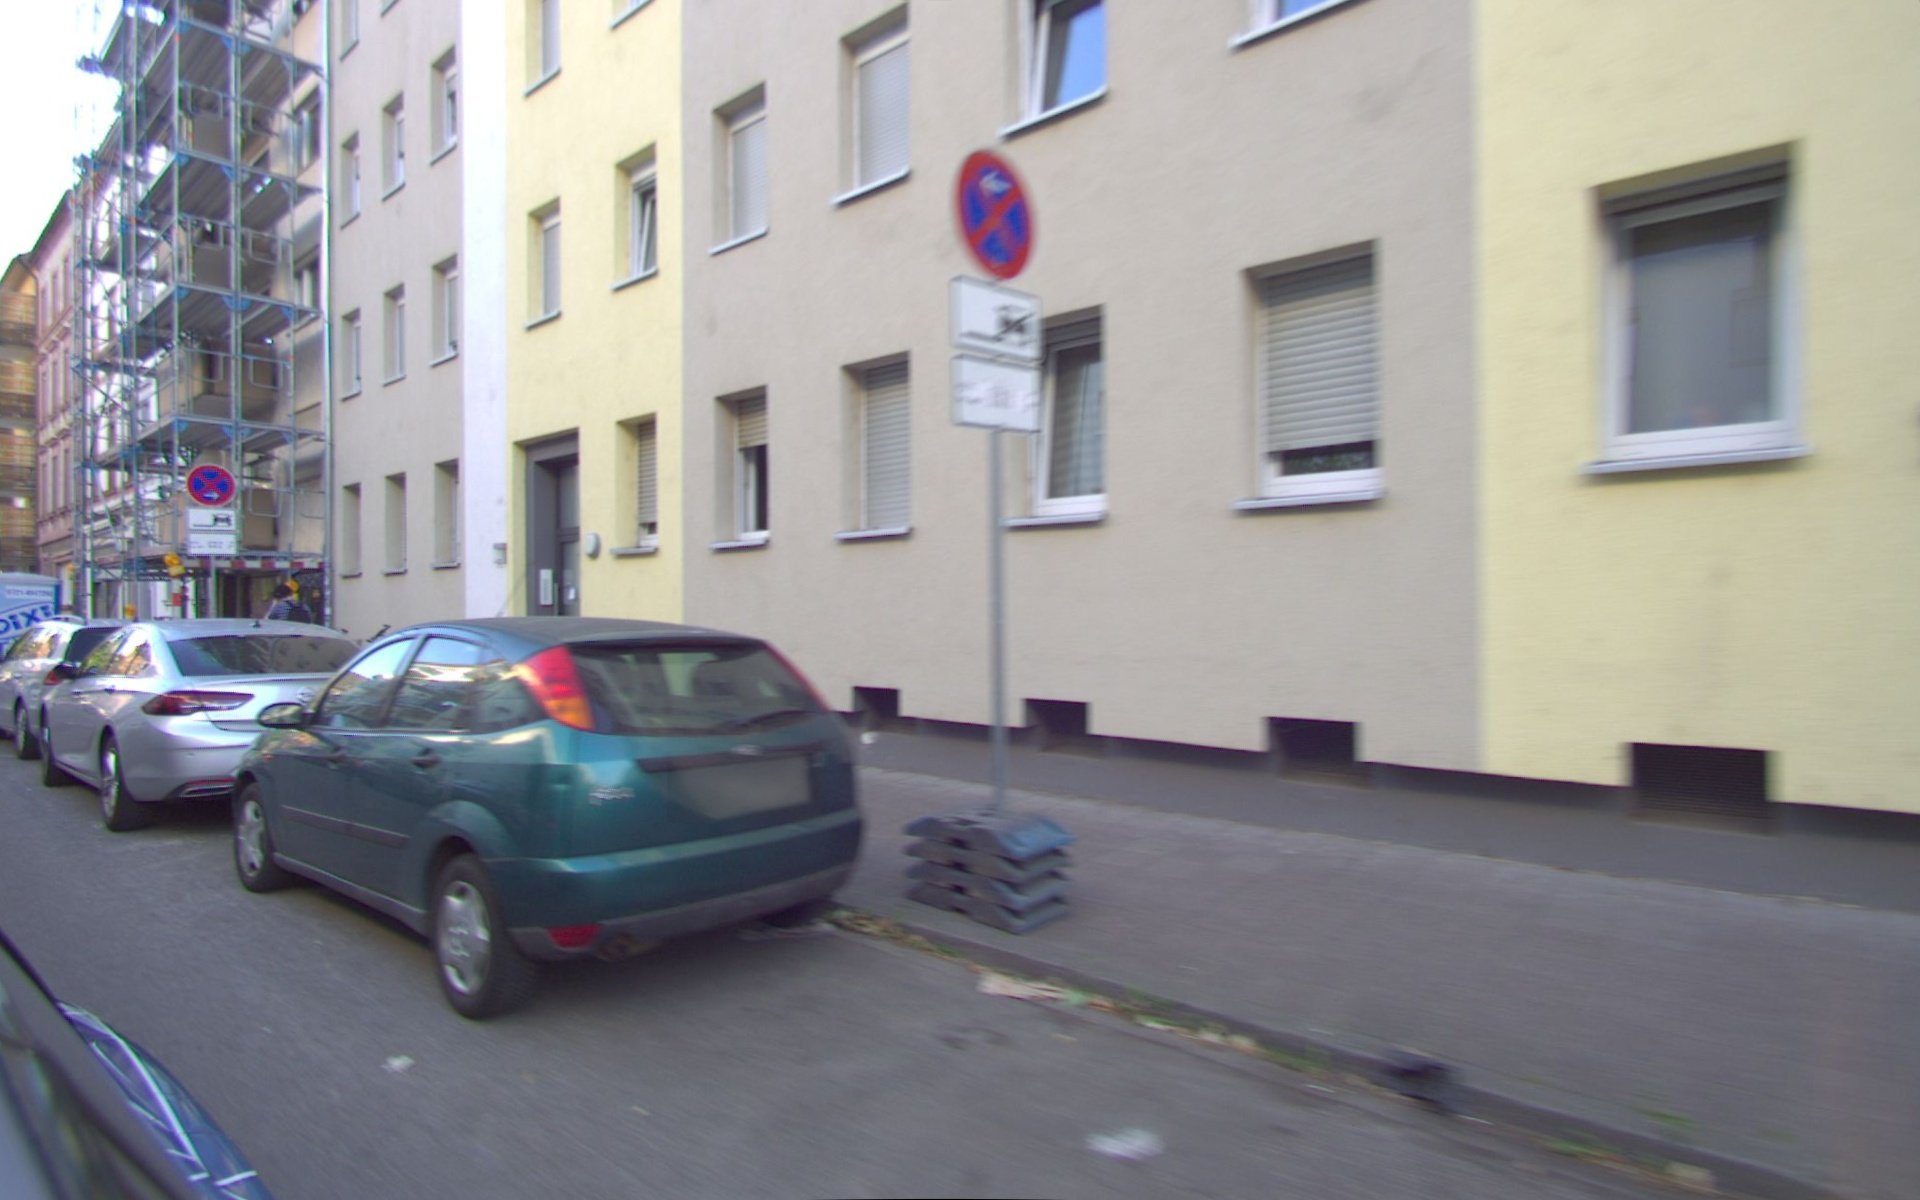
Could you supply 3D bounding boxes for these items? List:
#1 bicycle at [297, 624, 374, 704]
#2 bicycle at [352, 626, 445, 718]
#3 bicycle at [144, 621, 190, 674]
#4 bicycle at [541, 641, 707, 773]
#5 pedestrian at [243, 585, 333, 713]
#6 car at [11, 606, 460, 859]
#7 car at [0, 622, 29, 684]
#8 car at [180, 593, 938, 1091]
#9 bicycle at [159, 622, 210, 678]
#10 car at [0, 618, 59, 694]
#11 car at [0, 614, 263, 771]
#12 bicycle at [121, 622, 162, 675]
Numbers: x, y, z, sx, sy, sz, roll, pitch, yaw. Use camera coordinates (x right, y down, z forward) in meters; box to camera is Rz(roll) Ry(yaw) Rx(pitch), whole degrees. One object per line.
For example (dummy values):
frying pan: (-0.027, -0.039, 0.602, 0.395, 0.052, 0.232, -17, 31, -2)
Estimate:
bicycle: (-9.842, 0.978, 15.921, 1.814, 1.177, 0.400, -1, 2, 39)
bicycle: (-7.859, 0.970, 14.139, 1.730, 1.177, 0.473, -1, 2, 39)
bicycle: (-18.662, 1.096, 23.815, 1.814, 1.177, 0.400, -1, 2, 39)
bicycle: (-3.384, 1.014, 10.109, 1.922, 1.177, 0.604, -1, -2, 39)
pedestrian: (-9.776, 0.695, 14.718, 1.091, 1.774, 0.780, -1, -3, 41)
car: (-6.087, 0.844, 8.272, 4.614, 1.500, 1.903, -1, -2, 40)
car: (-24.451, 1.247, 24.696, 3.996, 1.459, 1.974, -1, -2, 39)
car: (-2.337, 0.781, 5.190, 4.418, 1.500, 1.760, -1, -2, 41)
bicycle: (-17.250, 1.095, 22.493, 1.814, 1.177, 0.437, -1, 2, 39)
car: (-20.856, 1.139, 21.475, 3.996, 1.516, 1.974, -1, -2, 39)
car: (-10.071, 0.935, 11.868, 4.613, 1.500, 1.903, -1, -2, 39)
bicycle: (-20.263, 1.180, 25.074, 0.483, 1.177, 1.687, -3, 2, -30)
